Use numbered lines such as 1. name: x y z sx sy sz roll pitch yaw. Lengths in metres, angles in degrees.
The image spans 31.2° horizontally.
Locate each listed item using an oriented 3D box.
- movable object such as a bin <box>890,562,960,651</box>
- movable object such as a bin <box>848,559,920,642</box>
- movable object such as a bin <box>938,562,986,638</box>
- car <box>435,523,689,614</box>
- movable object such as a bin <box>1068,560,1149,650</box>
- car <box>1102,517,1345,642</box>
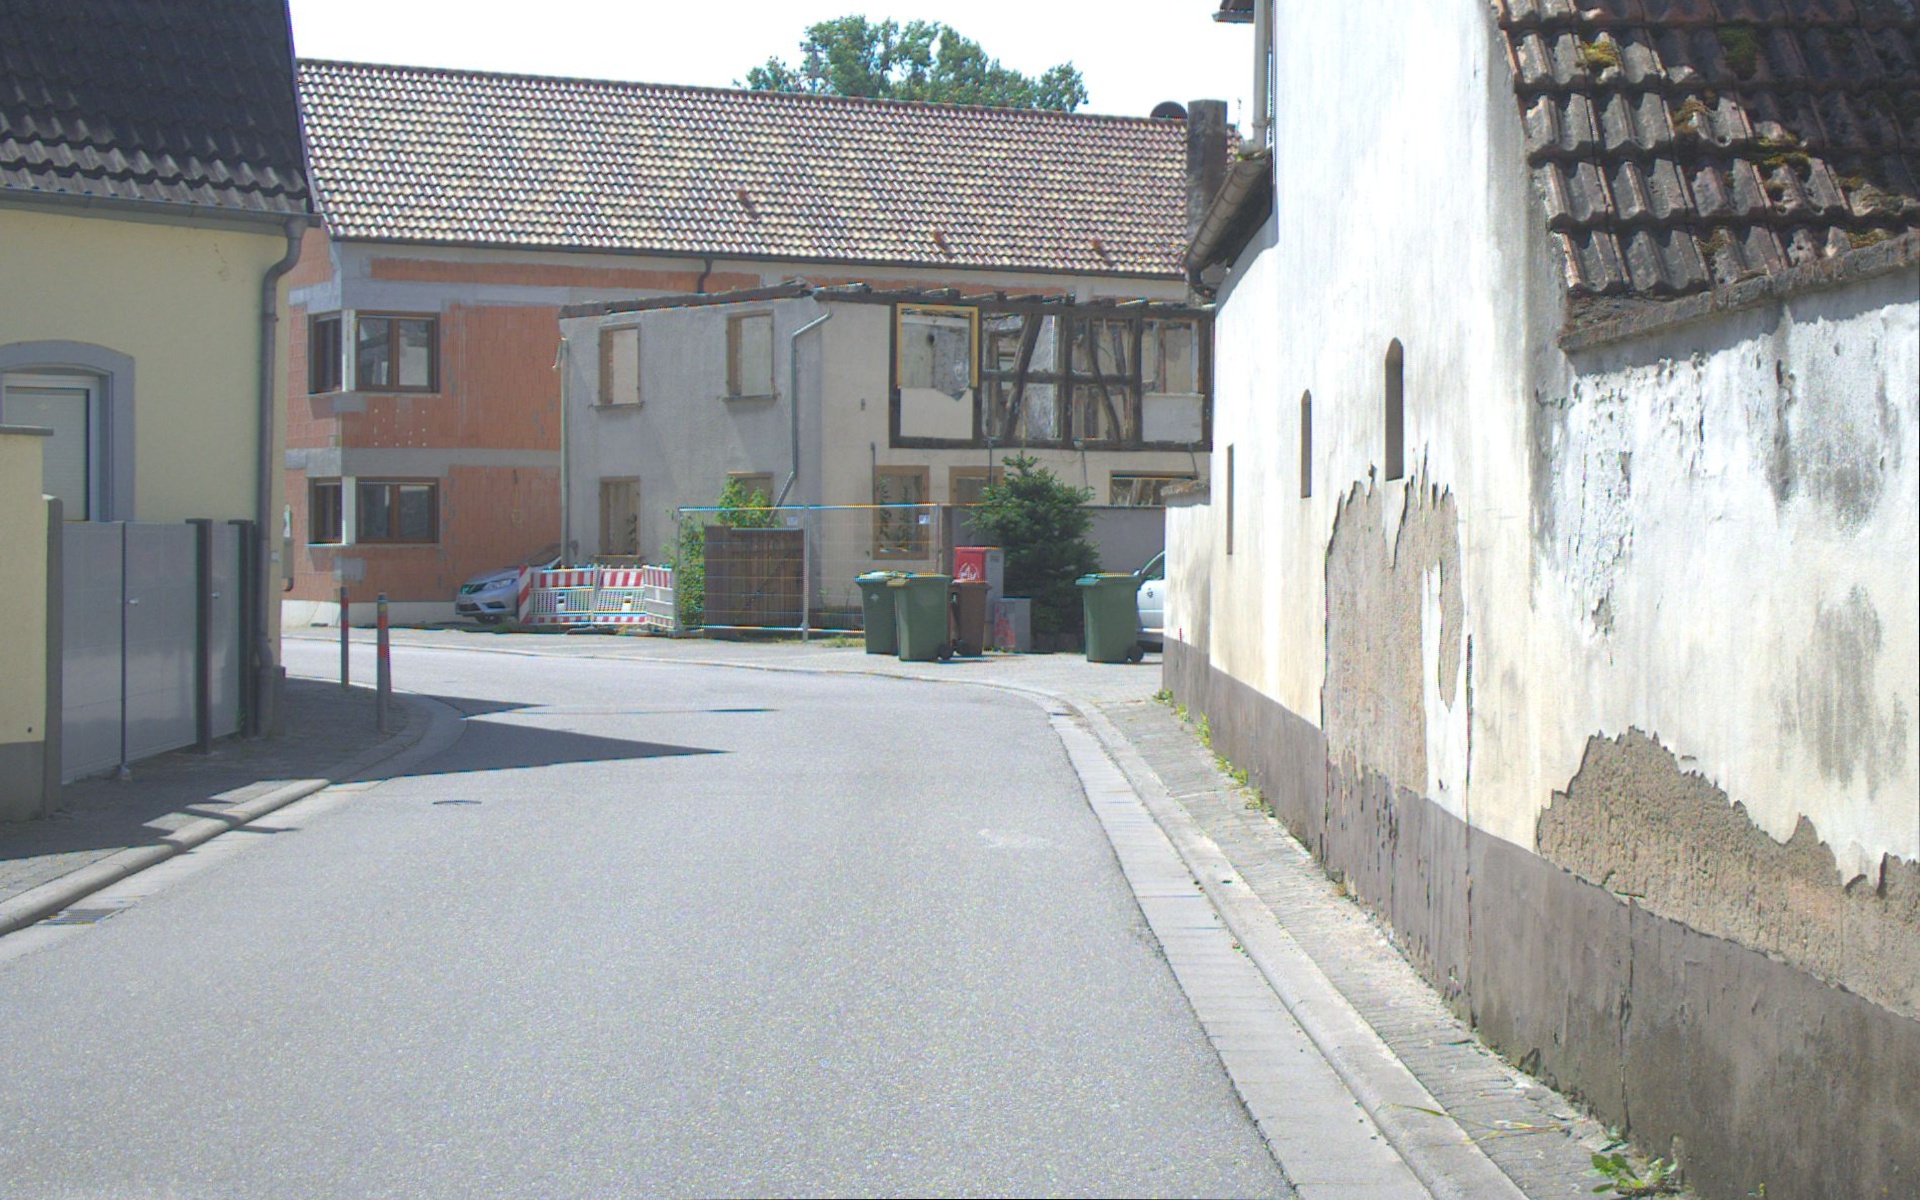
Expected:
1. movable object such as a bin: -0.444 0.077 43.036 0.686 1.088 0.638 0 1 -22
2. movable object such as a bin: -0.998 0.004 45.342 0.671 1.068 0.760 1 1 27
3. movable object such as a bin: 0.021 0.000 44.437 0.465 0.967 0.496 0 1 -23
4. car: -7.076 -0.583 61.294 4.089 1.502 1.870 -2 2 -36
5. movable object such as a bin: 1.815 0.059 42.007 0.720 1.077 0.755 0 1 -26
6. car: 3.370 -0.307 44.815 1.810 1.523 4.298 -1 2 -15
